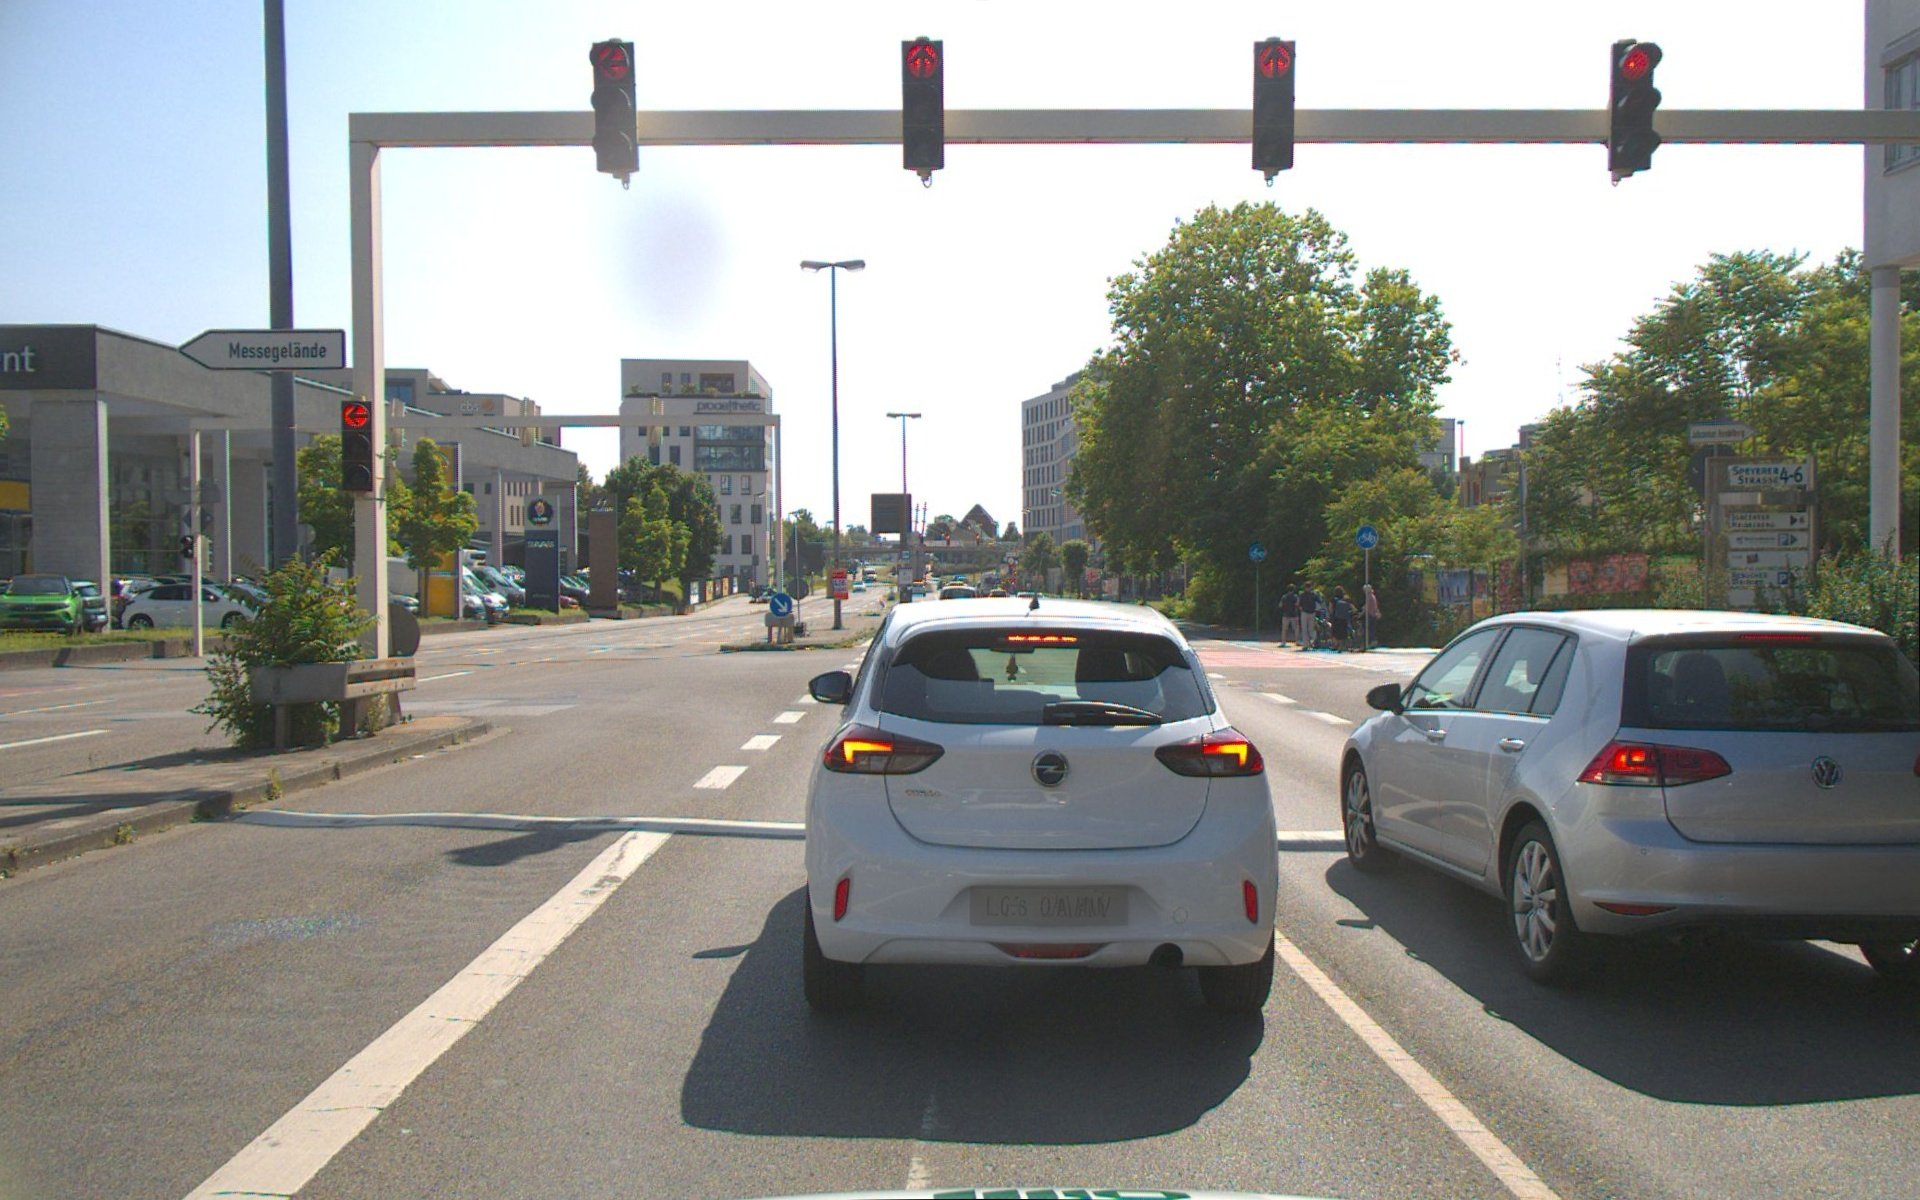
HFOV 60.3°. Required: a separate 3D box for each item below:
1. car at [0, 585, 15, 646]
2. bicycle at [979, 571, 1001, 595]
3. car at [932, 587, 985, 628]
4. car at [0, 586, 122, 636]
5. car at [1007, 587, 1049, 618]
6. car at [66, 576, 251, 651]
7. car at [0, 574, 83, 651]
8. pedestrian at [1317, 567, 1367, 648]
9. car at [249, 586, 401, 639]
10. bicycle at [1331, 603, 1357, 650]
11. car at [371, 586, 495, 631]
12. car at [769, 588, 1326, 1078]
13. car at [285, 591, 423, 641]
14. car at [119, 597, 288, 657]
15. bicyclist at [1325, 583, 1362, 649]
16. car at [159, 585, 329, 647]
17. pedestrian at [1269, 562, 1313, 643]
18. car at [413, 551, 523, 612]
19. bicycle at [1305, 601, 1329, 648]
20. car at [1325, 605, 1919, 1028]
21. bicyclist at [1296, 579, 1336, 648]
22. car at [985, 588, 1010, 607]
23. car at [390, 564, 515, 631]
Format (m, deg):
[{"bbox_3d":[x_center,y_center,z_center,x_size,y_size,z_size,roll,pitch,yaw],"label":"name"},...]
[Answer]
[{"bbox_3d":[-27.502,0.440,43.348,4.276,1.618,1.996,-1,0,-9],"label":"car"},{"bbox_3d":[2.795,-1.572,155.245,1.953,2.195,3.999,0,0,-1],"label":"bicycle"},{"bbox_3d":[-0.080,0.286,61.001,1.770,1.410,3.998,2,0,-2],"label":"car"},{"bbox_3d":[-26.209,0.334,46.492,4.276,1.290,1.996,-2,-1,-9],"label":"car"},{"bbox_3d":[3.196,0.136,78.442,1.769,1.410,3.999,1,0,-1],"label":"car"},{"bbox_3d":[-20.679,0.338,42.798,3.793,1.870,1.999,-1,0,-4],"label":"car"},{"bbox_3d":[-22.515,0.319,39.906,1.887,1.764,3.250,-1,-1,-37],"label":"car"},{"bbox_3d":[9.782,0.195,42.384,1.006,2.049,1.038,0,0,-1],"label":"pedestrian"},{"bbox_3d":[-20.951,0.410,54.724,4.270,1.726,1.999,0,0,-3],"label":"car"},{"bbox_3d":[9.792,0.664,42.151,0.366,1.167,1.034,1,-1,-3],"label":"bicycle"},{"bbox_3d":[-20.984,0.325,65.920,4.264,1.726,2.002,0,0,6],"label":"car"},{"bbox_3d":[0.247,0.716,7.190,1.743,1.520,3.999,0,0,-1],"label":"car"},{"bbox_3d":[-21.982,0.570,60.092,4.270,1.726,1.999,-1,0,-4],"label":"car"},{"bbox_3d":[-21.399,0.741,46.944,3.912,1.627,1.997,0,0,-8],"label":"car"},{"bbox_3d":[9.770,0.409,42.195,0.675,1.672,0.775,0,0,-9],"label":"bicyclist"},{"bbox_3d":[-21.359,0.460,49.501,4.211,1.796,1.999,-1,0,-4],"label":"car"},{"bbox_3d":[9.414,0.074,47.098,1.006,2.277,1.038,0,0,-1],"label":"pedestrian"},{"bbox_3d":[-21.886,-0.835,73.667,4.265,2.646,2.001,0,0,4],"label":"car"},{"bbox_3d":[9.495,0.647,43.977,0.365,1.238,1.153,1,0,-1],"label":"bicycle"},{"bbox_3d":[3.100,0.759,7.790,1.771,1.454,3.998,0,0,-2],"label":"car"},{"bbox_3d":[9.464,0.347,43.958,0.861,1.803,0.863,0,0,-1],"label":"bicyclist"},{"bbox_3d":[2.882,-0.182,128.231,1.769,1.410,3.999,1,0,-1],"label":"car"},{"bbox_3d":[-20.945,-0.099,68.352,4.401,2.731,2.130,0,0,8],"label":"car"}]
